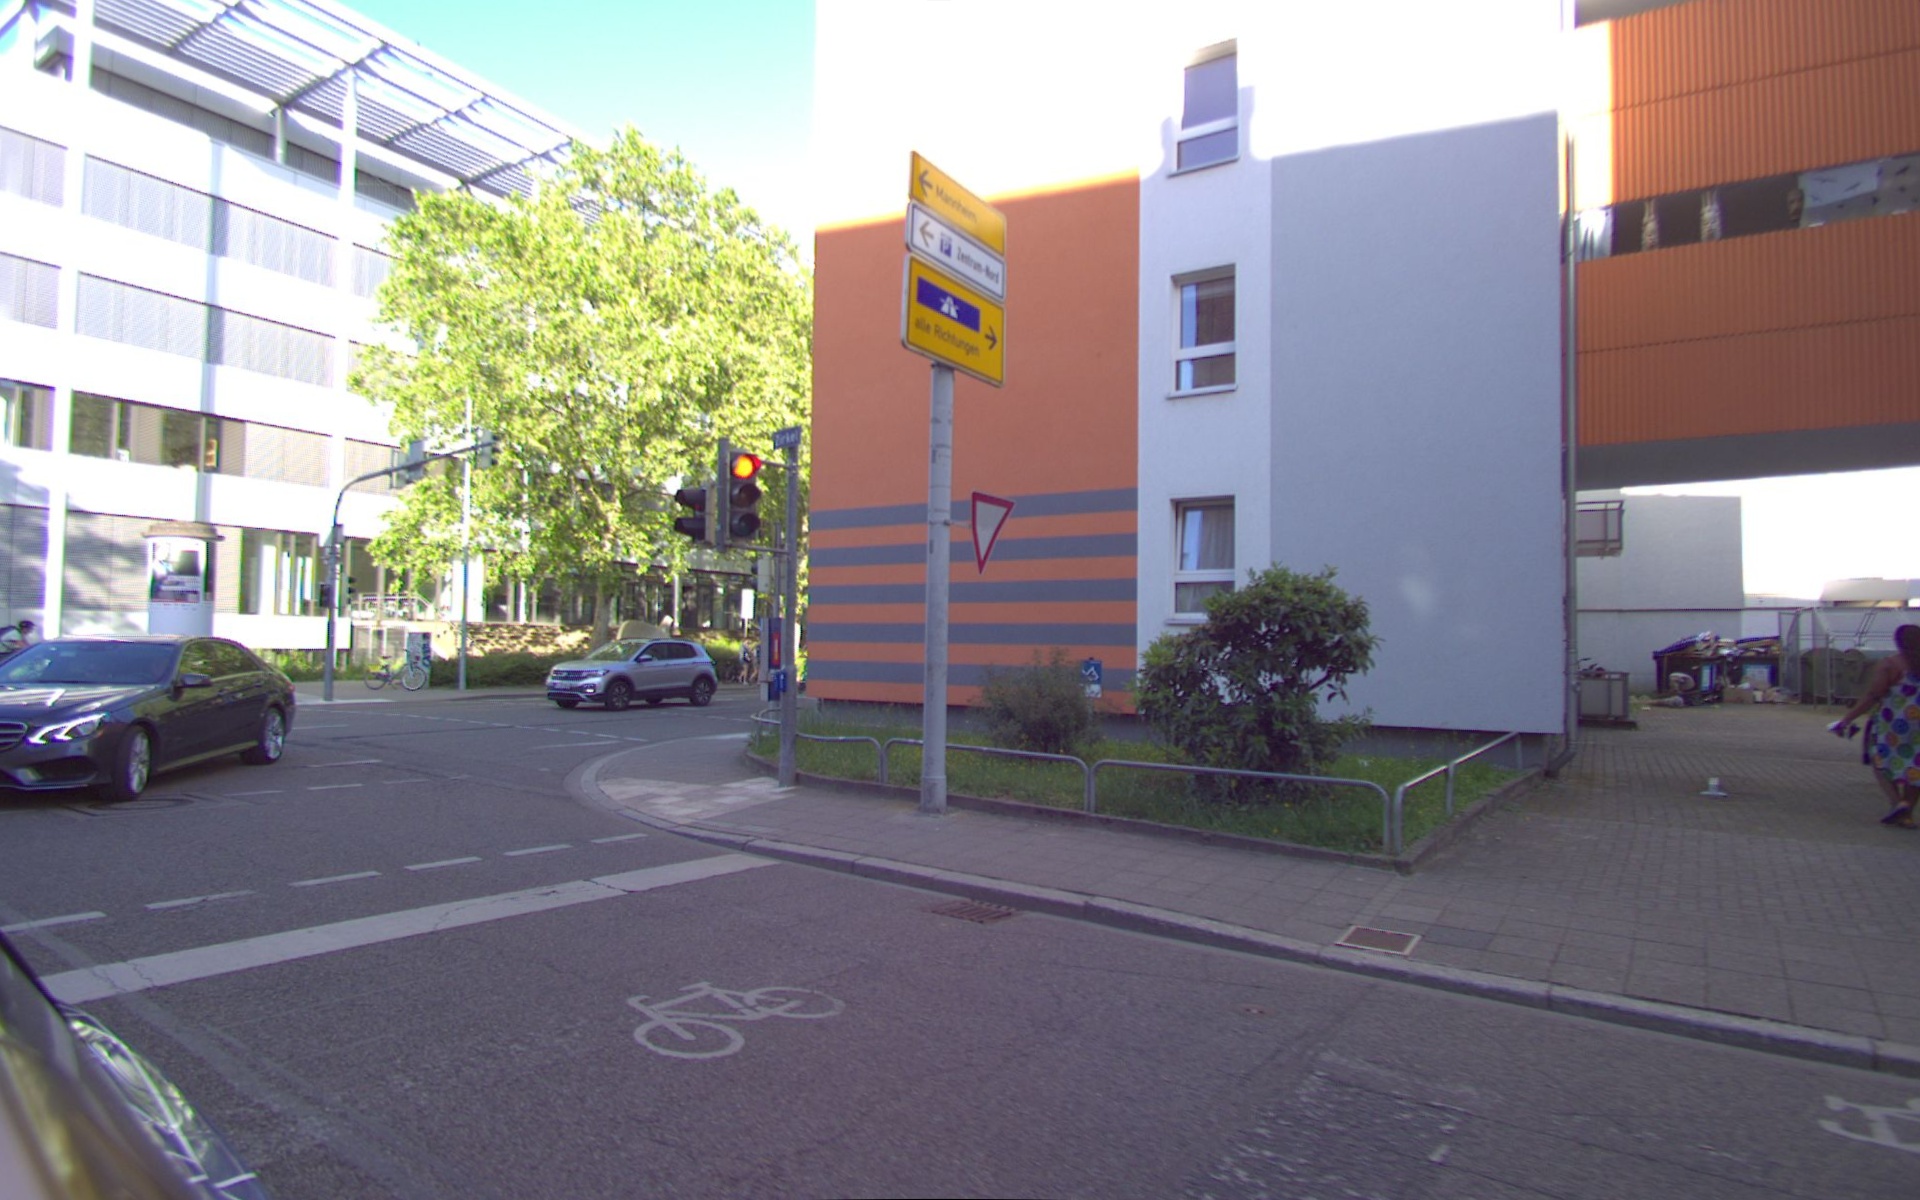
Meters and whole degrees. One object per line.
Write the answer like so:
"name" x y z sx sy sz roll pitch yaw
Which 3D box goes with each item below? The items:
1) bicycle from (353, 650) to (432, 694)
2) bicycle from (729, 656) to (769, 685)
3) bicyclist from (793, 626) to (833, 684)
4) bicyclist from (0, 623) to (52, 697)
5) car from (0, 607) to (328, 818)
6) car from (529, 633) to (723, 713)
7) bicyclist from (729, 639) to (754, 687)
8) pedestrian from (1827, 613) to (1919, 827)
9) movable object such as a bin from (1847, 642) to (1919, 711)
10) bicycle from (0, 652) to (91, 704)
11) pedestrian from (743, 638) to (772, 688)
"bicycle" -15.979 2.019 28.500 1.966 1.191 0.470 1 -2 2
"bicycle" -7.870 2.602 37.770 0.520 1.042 1.630 -1 -3 30
"bicyclist" -4.532 1.680 31.169 0.768 1.746 0.891 1 -2 30
"bicyclist" -20.566 1.285 21.861 1.106 1.557 0.956 4 -4 -27
"car" -8.298 0.882 9.992 1.771 1.479 4.729 3 0 -10
"car" -7.351 1.586 22.643 1.742 1.616 3.958 -1 -3 30
"bicyclist" -8.037 2.314 37.202 0.632 1.726 0.648 0 -1 30
"pedestrian" 7.543 0.904 7.844 1.077 1.585 1.003 -2 -3 34
"movable object such as a bin" 20.752 1.672 22.488 1.376 1.482 1.190 -2 -3 34
"bicycle" -20.589 1.682 21.852 2.614 1.060 0.985 0 -2 -28
"pedestrian" -7.360 2.272 36.732 0.773 1.732 0.685 0 -1 30
